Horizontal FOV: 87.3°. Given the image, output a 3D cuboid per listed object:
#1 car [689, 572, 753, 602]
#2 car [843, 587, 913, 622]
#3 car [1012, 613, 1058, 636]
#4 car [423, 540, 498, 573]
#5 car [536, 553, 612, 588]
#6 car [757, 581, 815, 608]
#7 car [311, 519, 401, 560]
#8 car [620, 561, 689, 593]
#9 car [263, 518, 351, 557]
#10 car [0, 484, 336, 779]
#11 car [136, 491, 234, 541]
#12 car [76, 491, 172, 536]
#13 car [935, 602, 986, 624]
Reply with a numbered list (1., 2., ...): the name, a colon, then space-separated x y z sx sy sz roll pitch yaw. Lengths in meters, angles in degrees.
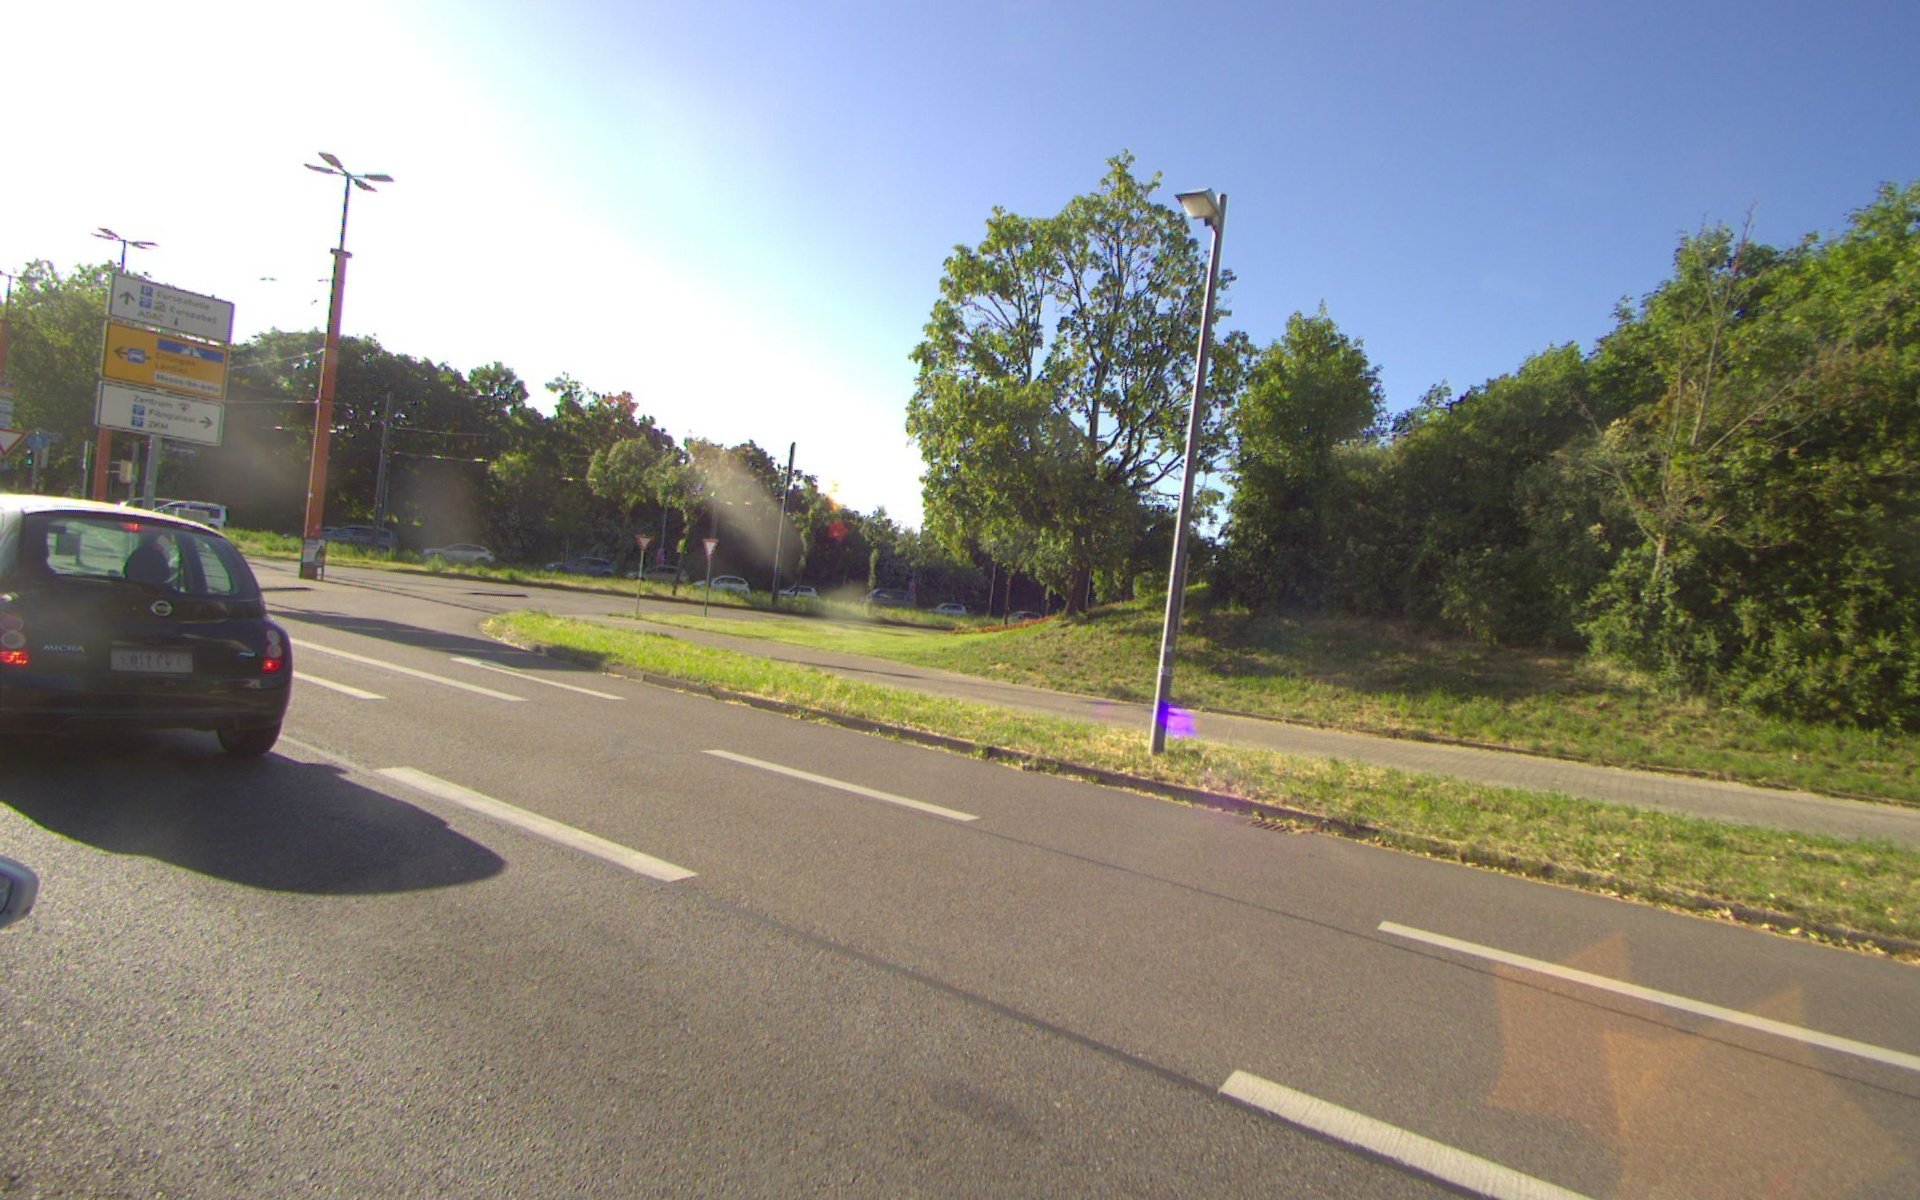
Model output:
1. car: -16.148 -0.886 68.125 3.789 1.541 1.683 7 0 -29
2. car: -6.016 0.338 74.066 4.536 2.038 1.984 7 0 -30
3. car: 6.050 1.966 80.880 3.369 1.475 1.453 7 0 -30
4. car: -31.005 -2.688 62.426 3.936 1.458 1.674 9 -2 -31
5. car: -24.190 -1.852 63.121 4.089 1.617 1.815 7 0 -31
6. car: -12.707 -0.418 73.449 3.708 1.491 1.588 8 0 -31
7. car: -34.160 -3.384 56.968 4.151 1.663 1.746 9 -2 -32
8. car: -21.083 -1.588 69.454 4.087 1.664 1.839 7 0 -29
9. car: -37.892 -3.587 58.475 4.094 1.528 1.808 9 -2 -32
10. car: -6.033 0.067 6.739 3.555 1.518 1.656 7 -1 33
11. car: -40.760 -4.375 53.040 3.810 1.911 1.748 9 -2 -34
12. car: -44.874 -4.611 54.091 3.619 1.674 1.666 9 -2 -33
13. car: 0.023 1.047 81.611 3.803 1.278 1.590 9 -2 -32
